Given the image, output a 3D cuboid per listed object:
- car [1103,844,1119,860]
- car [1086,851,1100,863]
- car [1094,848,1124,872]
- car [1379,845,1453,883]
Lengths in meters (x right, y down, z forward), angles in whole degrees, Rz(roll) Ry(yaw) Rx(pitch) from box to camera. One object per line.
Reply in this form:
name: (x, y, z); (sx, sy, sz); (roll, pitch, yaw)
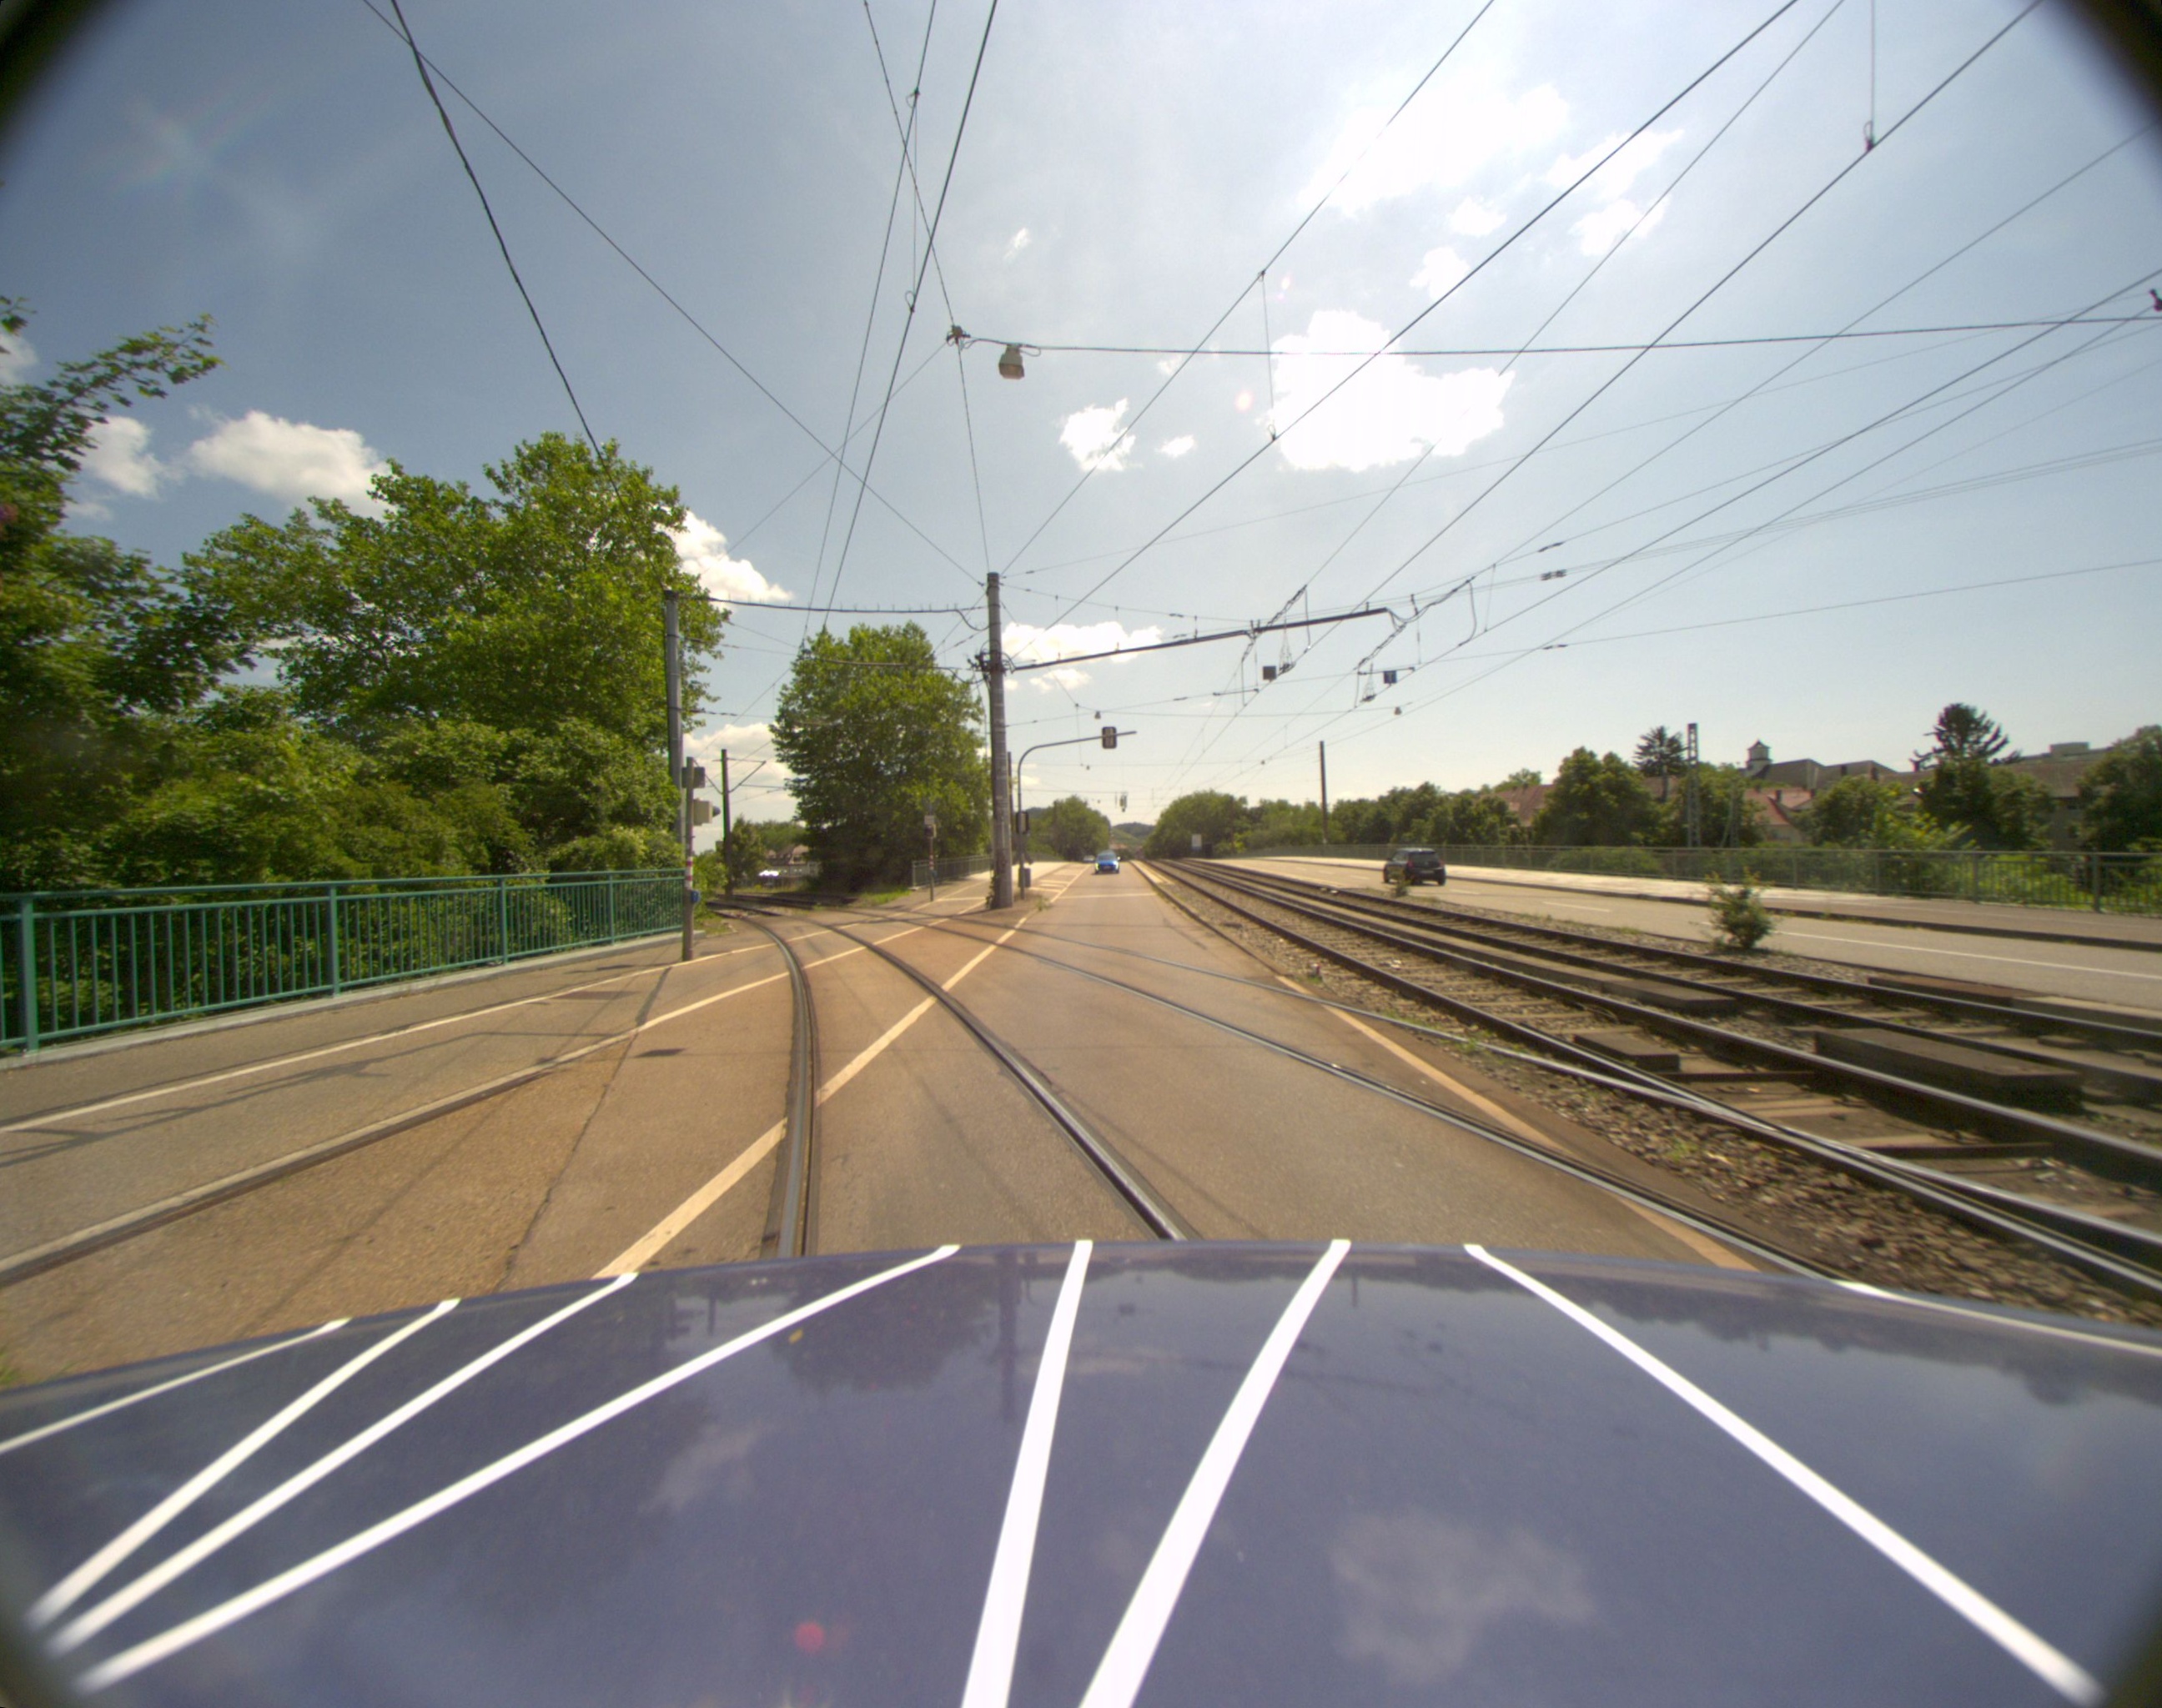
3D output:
car: (3.555, -0.174, 90.600); (1.684, 1.737, 3.685); (-3, -1, 0)
car: (1.836, 0.482, 117.132); (1.998, 1.542, 4.723); (-3, -2, 2)
car: (2.035, 0.446, 54.504); (1.864, 1.630, 4.002); (-3, -1, 5)
car: (14.195, 0.375, 32.400); (1.709, 1.501, 3.733); (-1, 1, 3)
